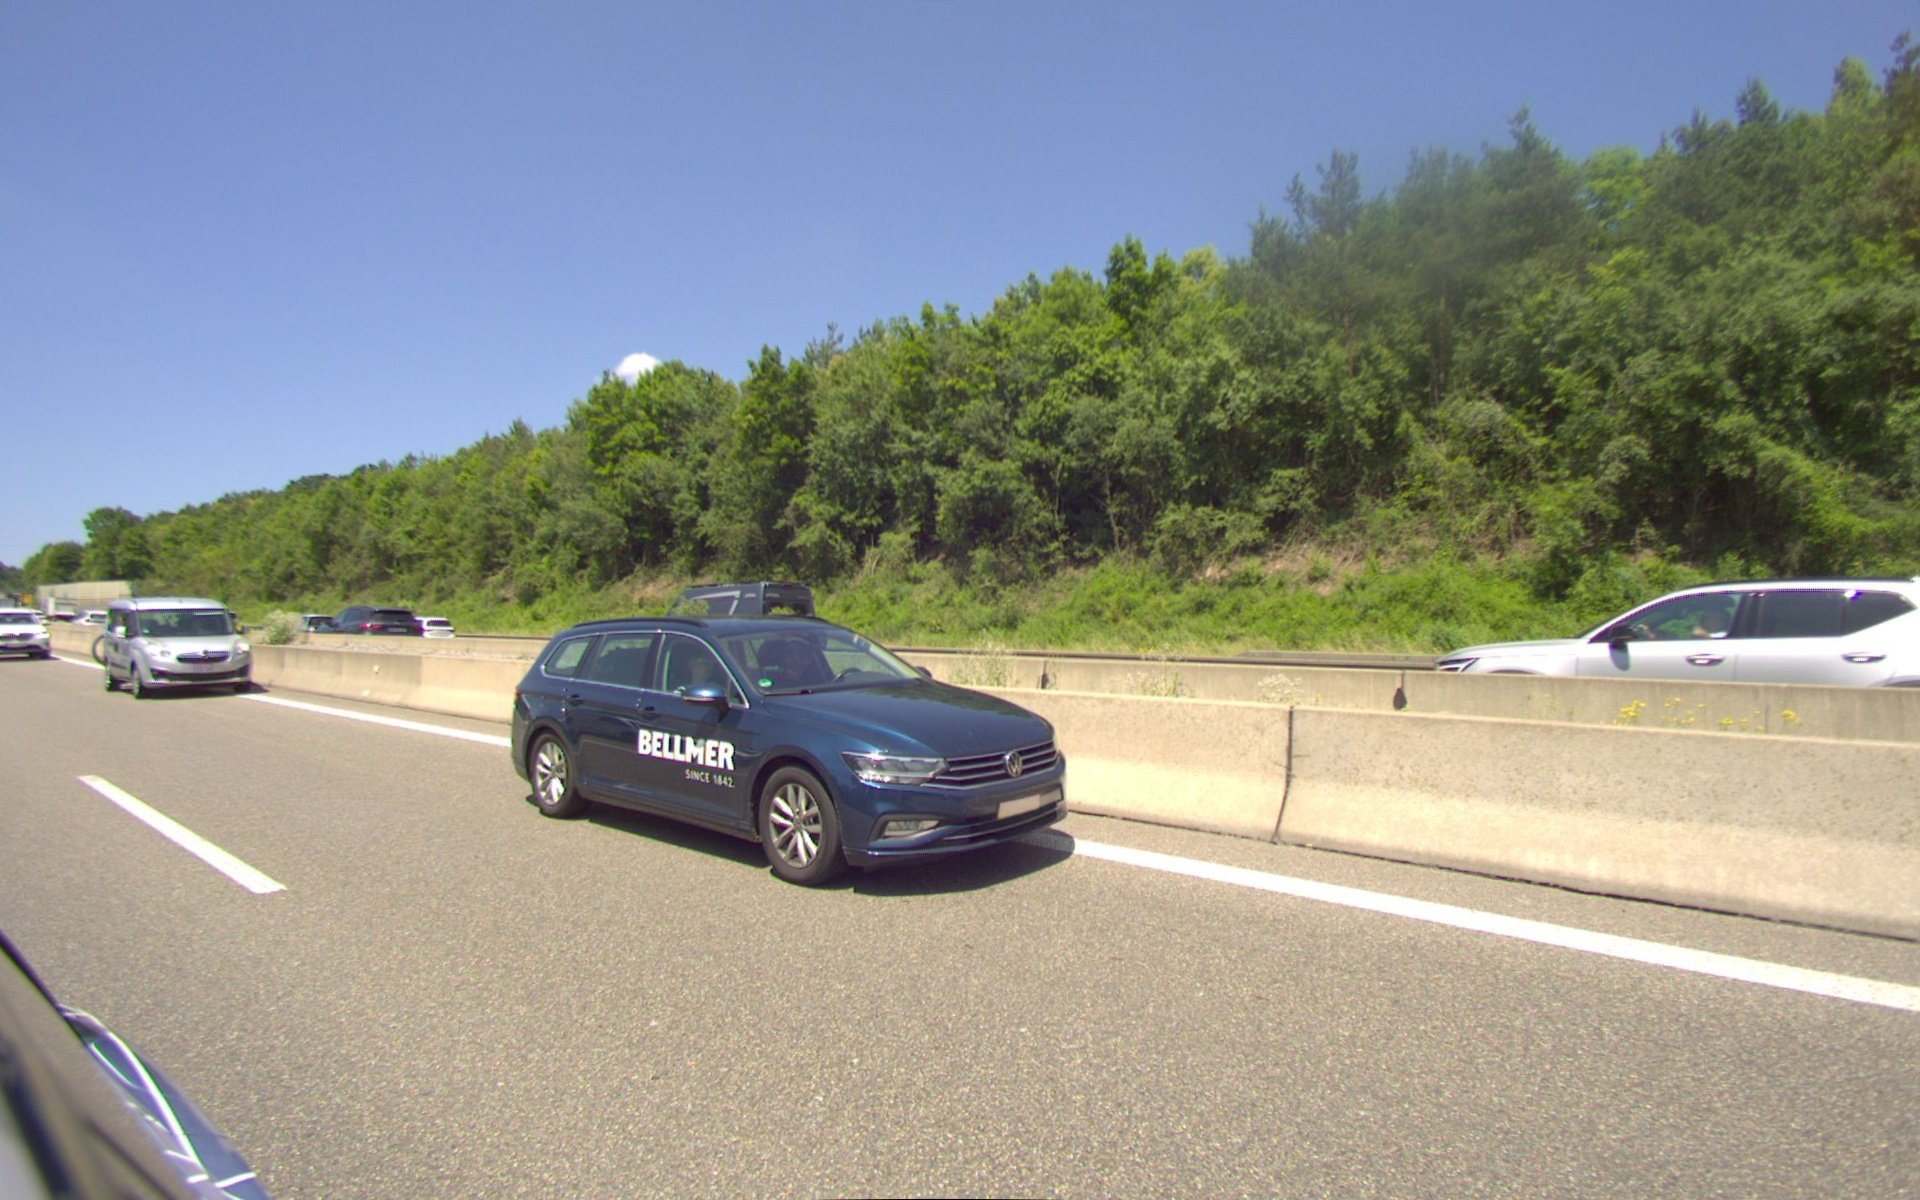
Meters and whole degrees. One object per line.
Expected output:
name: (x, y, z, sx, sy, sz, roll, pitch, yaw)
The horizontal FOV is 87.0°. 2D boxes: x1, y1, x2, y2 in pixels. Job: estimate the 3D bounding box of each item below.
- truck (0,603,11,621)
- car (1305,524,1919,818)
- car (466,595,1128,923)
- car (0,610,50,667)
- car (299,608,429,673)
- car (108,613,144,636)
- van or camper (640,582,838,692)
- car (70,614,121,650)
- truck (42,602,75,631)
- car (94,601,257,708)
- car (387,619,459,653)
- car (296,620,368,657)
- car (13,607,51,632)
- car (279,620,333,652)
truck: (-159.166, 1.917, 167.613, 6.739, 2.906, 2.155, 0, 0, 41)
car: (6.030, 0.519, 8.790, 5.382, 2.029, 1.973, -1, -1, 40)
car: (-1.382, 0.765, 6.793, 4.676, 1.461, 1.854, -2, -1, 42)
car: (-31.308, 1.226, 33.166, 3.999, 1.719, 1.800, 0, 0, 42)
car: (-17.579, 1.210, 29.777, 4.511, 1.705, 1.973, -5, -4, 41)
car: (-76.162, 2.218, 92.358, 4.282, 2.029, 1.972, 0, 0, 42)
van or camper: (-6.616, 0.943, 29.625, 6.650, 2.880, 2.132, 0, 0, 41)
car: (-52.812, 1.937, 61.791, 4.349, 2.029, 1.971, 0, 0, 44)
truck: (-131.153, 2.354, 147.211, 7.988, 4.019, 2.664, 0, 0, 42)
car: (-15.419, 0.944, 19.791, 4.919, 1.786, 1.832, 0, 0, 44)
car: (-29.561, 1.943, 55.651, 4.511, 1.705, 1.973, 0, 0, 41)
car: (-32.710, 1.969, 52.661, 4.511, 1.705, 1.973, 0, 0, 41)
car: (-79.812, 1.631, 86.999, 4.191, 2.029, 1.973, 0, 0, 41)
car: (-44.467, 2.403, 68.816, 4.471, 2.029, 1.973, 0, 0, 41)
